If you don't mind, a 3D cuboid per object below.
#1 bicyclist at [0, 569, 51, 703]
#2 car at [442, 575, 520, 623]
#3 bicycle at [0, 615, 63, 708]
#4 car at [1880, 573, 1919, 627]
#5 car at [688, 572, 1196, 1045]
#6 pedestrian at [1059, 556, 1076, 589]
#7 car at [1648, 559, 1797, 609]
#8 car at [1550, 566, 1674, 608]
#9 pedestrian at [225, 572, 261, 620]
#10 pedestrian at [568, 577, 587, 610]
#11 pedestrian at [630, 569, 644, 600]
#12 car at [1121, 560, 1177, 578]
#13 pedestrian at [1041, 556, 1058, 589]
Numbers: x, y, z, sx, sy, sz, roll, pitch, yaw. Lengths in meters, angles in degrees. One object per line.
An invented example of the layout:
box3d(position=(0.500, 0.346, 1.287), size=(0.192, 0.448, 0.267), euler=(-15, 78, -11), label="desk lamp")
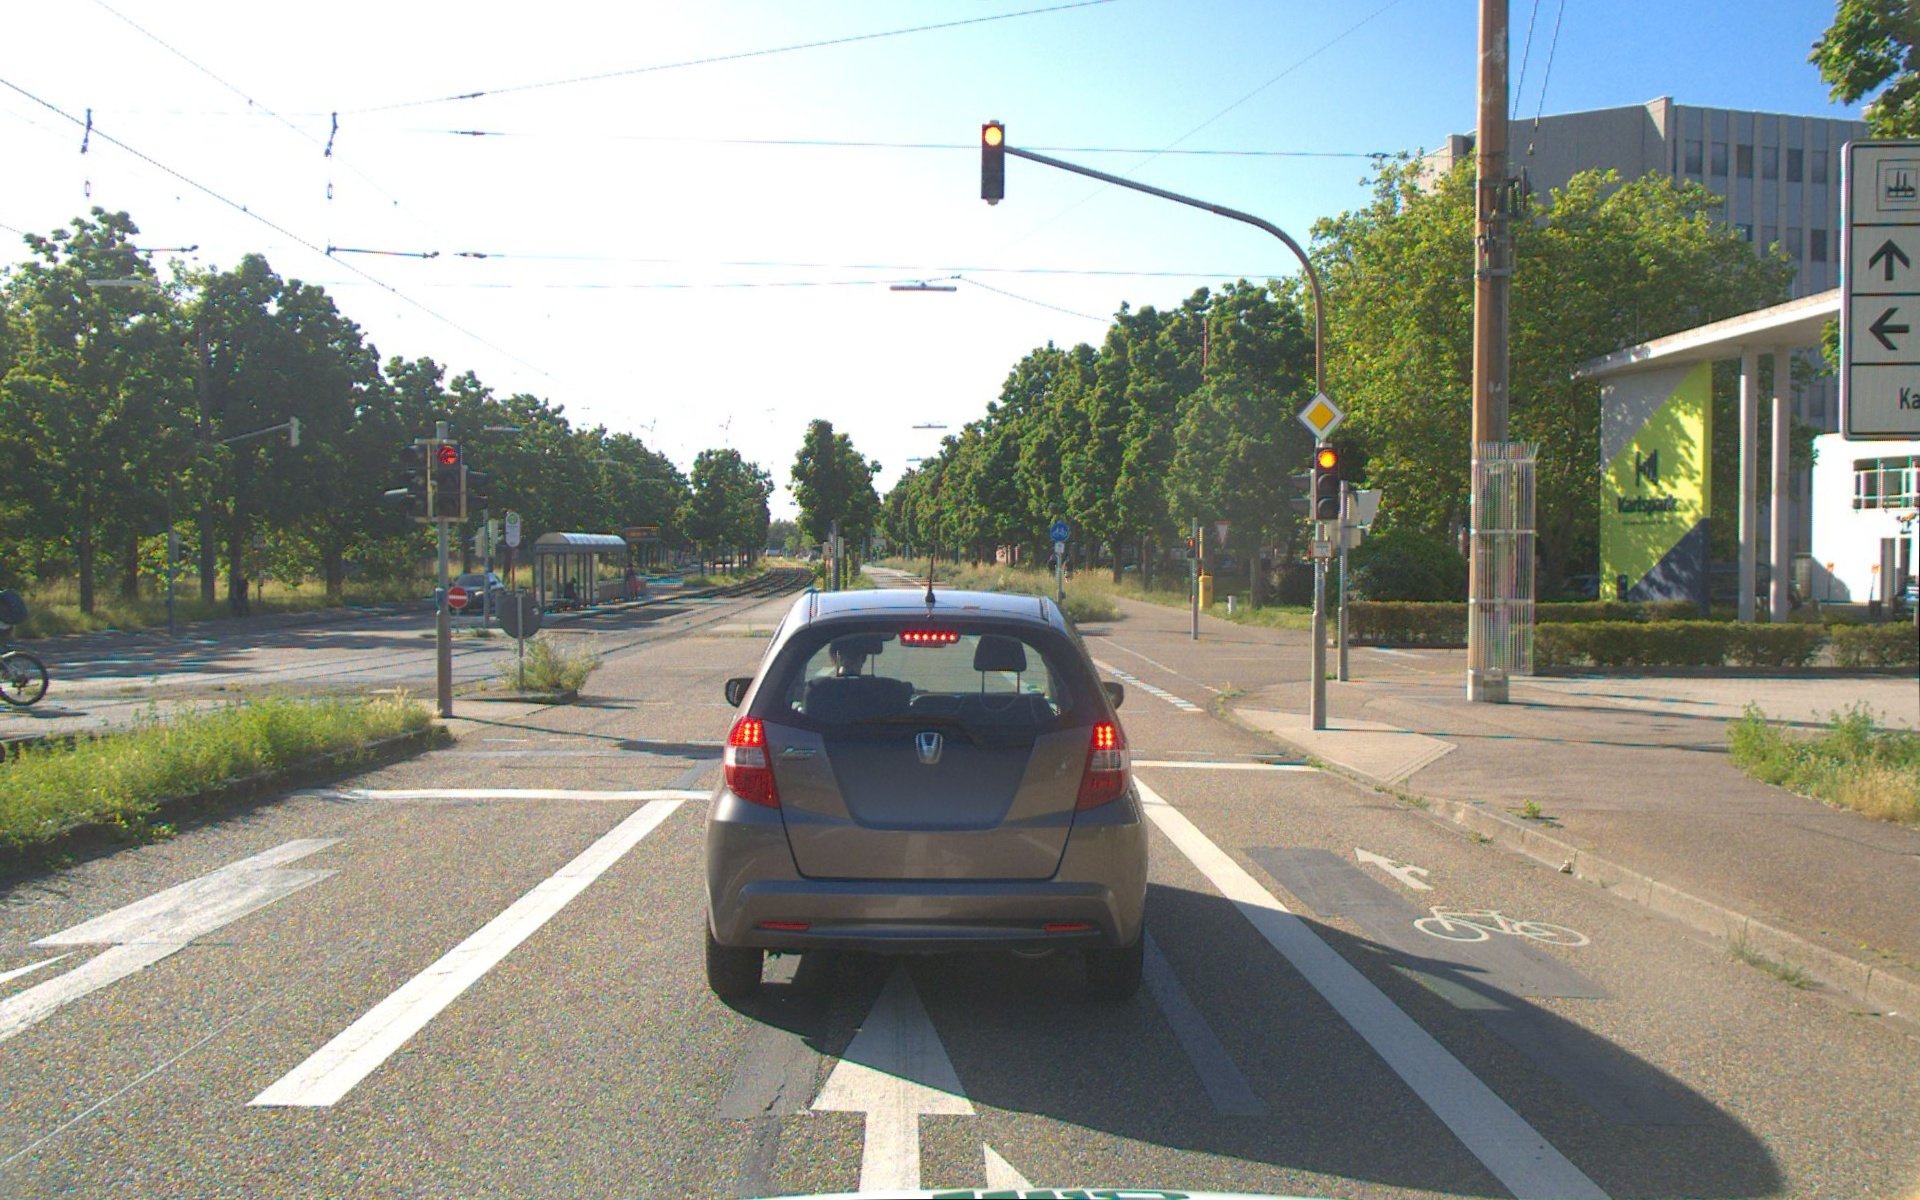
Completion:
box3d(position=(-12.018, 0.432, 20.397), size=(1.210, 1.621, 0.803), euler=(0, 0, -11), label="bicyclist")
box3d(position=(-20.282, -0.076, 70.277), size=(2.052, 1.841, 4.791), euler=(-2, 2, -3), label="car")
box3d(position=(-12.133, 0.750, 20.393), size=(1.743, 1.121, 0.697), euler=(0, 0, -11), label="bicycle")
box3d(position=(30.634, -0.017, 50.730), size=(3.914, 1.605, 1.950), euler=(0, 1, -10), label="car")
box3d(position=(-0.082, 0.688, 7.327), size=(1.666, 1.550, 3.709), euler=(1, 0, -1), label="car")
box3d(position=(6.359, -1.614, 97.572), size=(0.865, 1.917, 0.875), euler=(0, 1, -5), label="pedestrian")
box3d(position=(28.001, -0.609, 60.757), size=(4.803, 1.787, 2.083), euler=(0, 1, -16), label="car")
box3d(position=(26.635, -0.541, 67.598), size=(4.371, 1.715, 1.892), euler=(0, 1, -7), label="car")
box3d(position=(-26.490, -0.152, 61.104), size=(0.744, 1.764, 0.936), euler=(0, 1, 27), label="pedestrian")
box3d(position=(-15.095, -0.258, 65.293), size=(0.552, 1.279, 0.580), euler=(-2, 0, -2), label="pedestrian")
box3d(position=(-15.586, -0.757, 79.846), size=(0.533, 1.473, 0.559), euler=(-1, 0, -1), label="pedestrian")
box3d(position=(16.577, -2.728, 144.811), size=(4.543, 1.582, 1.997), euler=(-1, 1, -7), label="car")
box3d(position=(5.280, -1.628, 97.479), size=(0.865, 1.917, 0.875), euler=(0, 1, -5), label="pedestrian")
